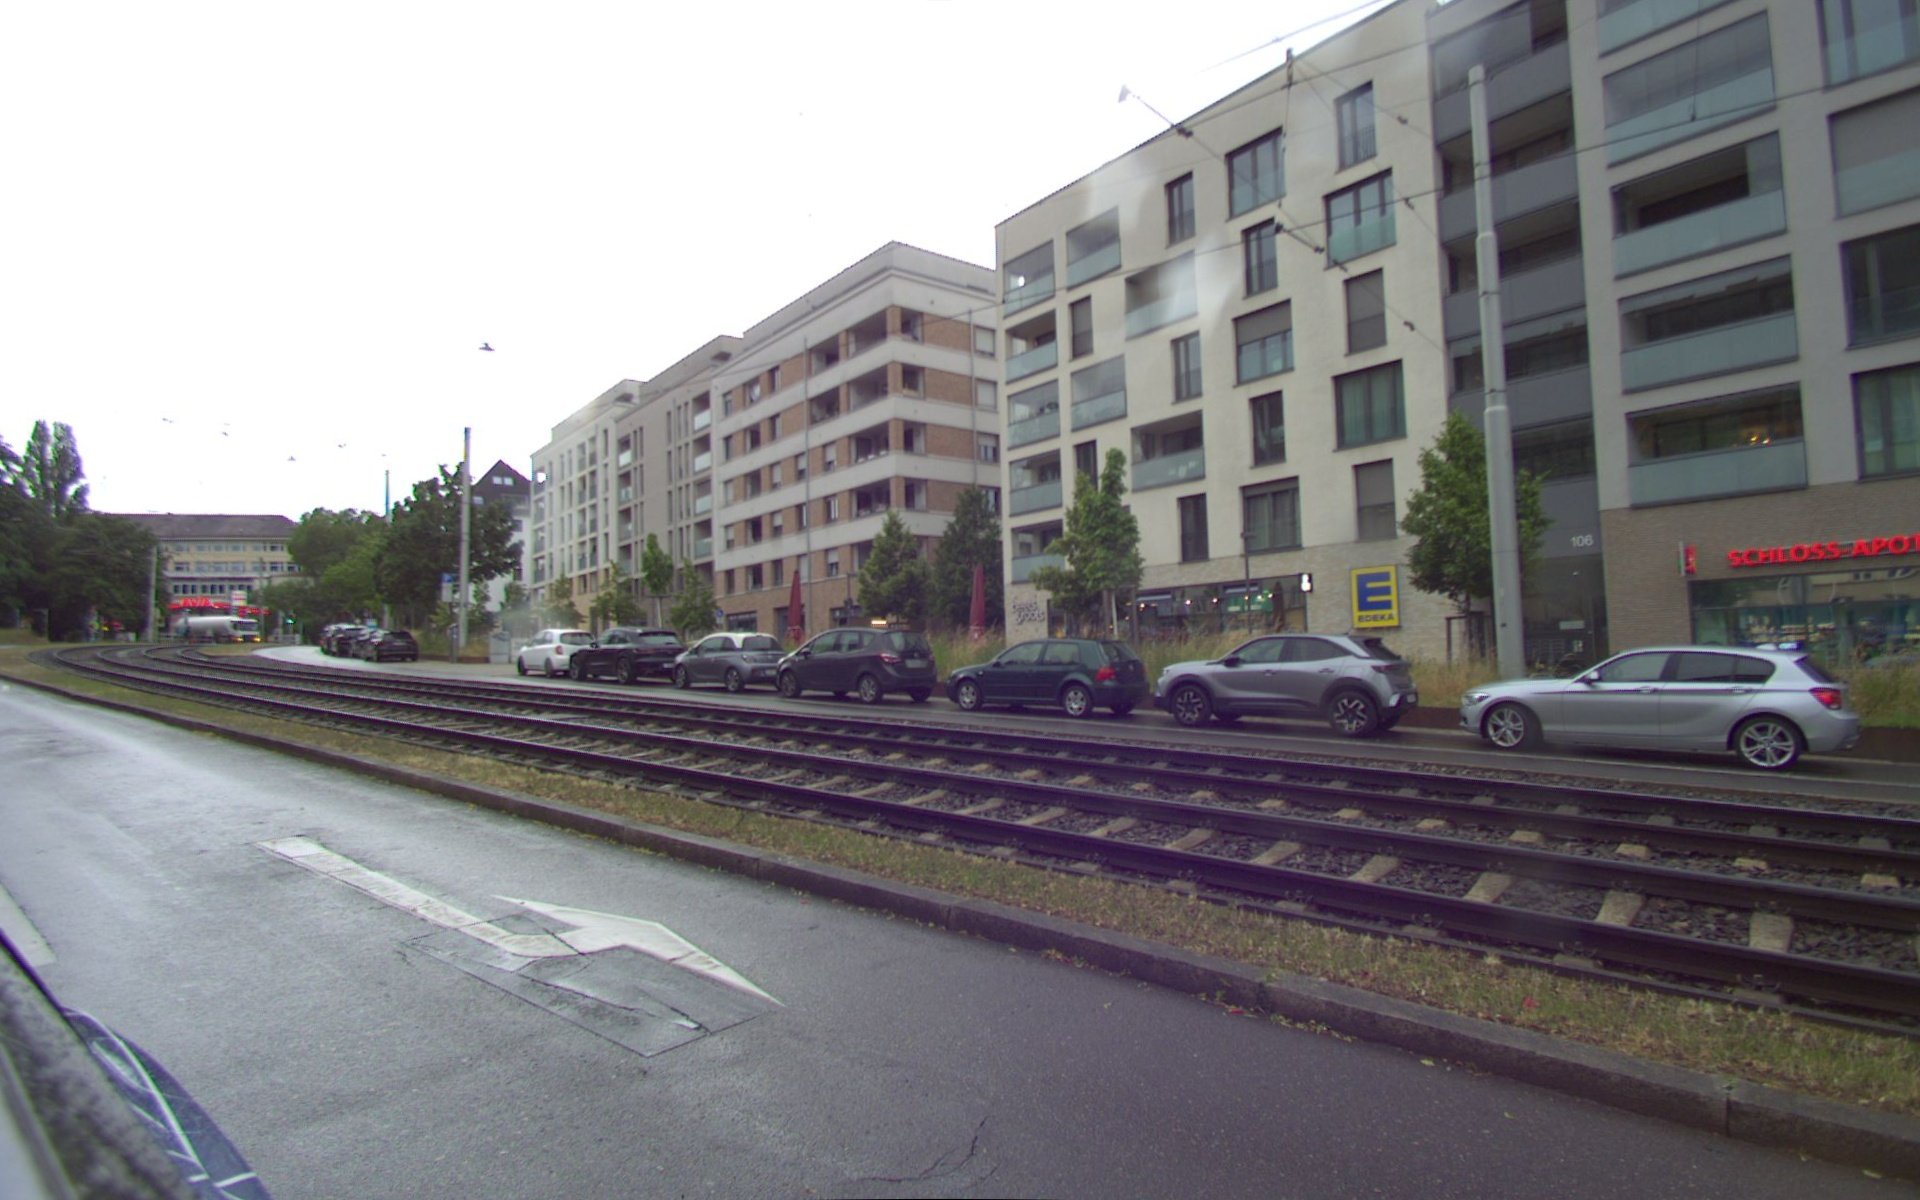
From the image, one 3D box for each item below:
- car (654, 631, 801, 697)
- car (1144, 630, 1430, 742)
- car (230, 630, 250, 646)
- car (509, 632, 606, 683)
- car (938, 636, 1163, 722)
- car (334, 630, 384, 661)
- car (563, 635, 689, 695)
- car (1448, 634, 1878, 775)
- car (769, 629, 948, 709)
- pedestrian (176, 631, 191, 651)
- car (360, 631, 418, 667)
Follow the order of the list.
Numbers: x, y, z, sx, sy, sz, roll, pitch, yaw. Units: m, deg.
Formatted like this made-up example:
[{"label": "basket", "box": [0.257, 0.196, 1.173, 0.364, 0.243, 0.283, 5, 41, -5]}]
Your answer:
[{"label": "car", "box": [-6.000, 1.582, 25.924, 3.926, 1.516, 1.663, -1, -1, 40]}, {"label": "car", "box": [5.164, 1.278, 16.202, 4.042, 1.541, 1.665, -1, -1, 36]}, {"label": "car", "box": [-81.268, 4.302, 114.259, 1.641, 1.619, 3.818, -1, 0, -34]}, {"label": "car", "box": [-13.067, 1.816, 32.747, 1.627, 1.516, 3.784, 0, -1, -44]}, {"label": "car", "box": [1.641, 1.410, 19.131, 4.030, 1.391, 1.663, -1, -1, 40]}, {"label": "car", "box": [-31.421, 2.360, 52.903, 1.630, 1.475, 3.676, -1, 0, -40]}, {"label": "car", "box": [-9.653, 1.801, 29.070, 1.660, 1.516, 4.408, 0, -1, -44]}, {"label": "car", "box": [8.836, 1.199, 13.037, 4.326, 1.475, 1.663, -1, -1, 40]}, {"label": "car", "box": [-2.286, 1.438, 22.262, 3.926, 1.575, 1.663, -1, -1, 40]}, {"label": "pedestrian", "box": [-71.168, 3.765, 92.771, 0.737, 1.777, 0.820, 2, -4, -12]}, {"label": "car", "box": [-26.326, 2.219, 46.588, 1.630, 1.475, 3.676, -1, 0, -40]}]
